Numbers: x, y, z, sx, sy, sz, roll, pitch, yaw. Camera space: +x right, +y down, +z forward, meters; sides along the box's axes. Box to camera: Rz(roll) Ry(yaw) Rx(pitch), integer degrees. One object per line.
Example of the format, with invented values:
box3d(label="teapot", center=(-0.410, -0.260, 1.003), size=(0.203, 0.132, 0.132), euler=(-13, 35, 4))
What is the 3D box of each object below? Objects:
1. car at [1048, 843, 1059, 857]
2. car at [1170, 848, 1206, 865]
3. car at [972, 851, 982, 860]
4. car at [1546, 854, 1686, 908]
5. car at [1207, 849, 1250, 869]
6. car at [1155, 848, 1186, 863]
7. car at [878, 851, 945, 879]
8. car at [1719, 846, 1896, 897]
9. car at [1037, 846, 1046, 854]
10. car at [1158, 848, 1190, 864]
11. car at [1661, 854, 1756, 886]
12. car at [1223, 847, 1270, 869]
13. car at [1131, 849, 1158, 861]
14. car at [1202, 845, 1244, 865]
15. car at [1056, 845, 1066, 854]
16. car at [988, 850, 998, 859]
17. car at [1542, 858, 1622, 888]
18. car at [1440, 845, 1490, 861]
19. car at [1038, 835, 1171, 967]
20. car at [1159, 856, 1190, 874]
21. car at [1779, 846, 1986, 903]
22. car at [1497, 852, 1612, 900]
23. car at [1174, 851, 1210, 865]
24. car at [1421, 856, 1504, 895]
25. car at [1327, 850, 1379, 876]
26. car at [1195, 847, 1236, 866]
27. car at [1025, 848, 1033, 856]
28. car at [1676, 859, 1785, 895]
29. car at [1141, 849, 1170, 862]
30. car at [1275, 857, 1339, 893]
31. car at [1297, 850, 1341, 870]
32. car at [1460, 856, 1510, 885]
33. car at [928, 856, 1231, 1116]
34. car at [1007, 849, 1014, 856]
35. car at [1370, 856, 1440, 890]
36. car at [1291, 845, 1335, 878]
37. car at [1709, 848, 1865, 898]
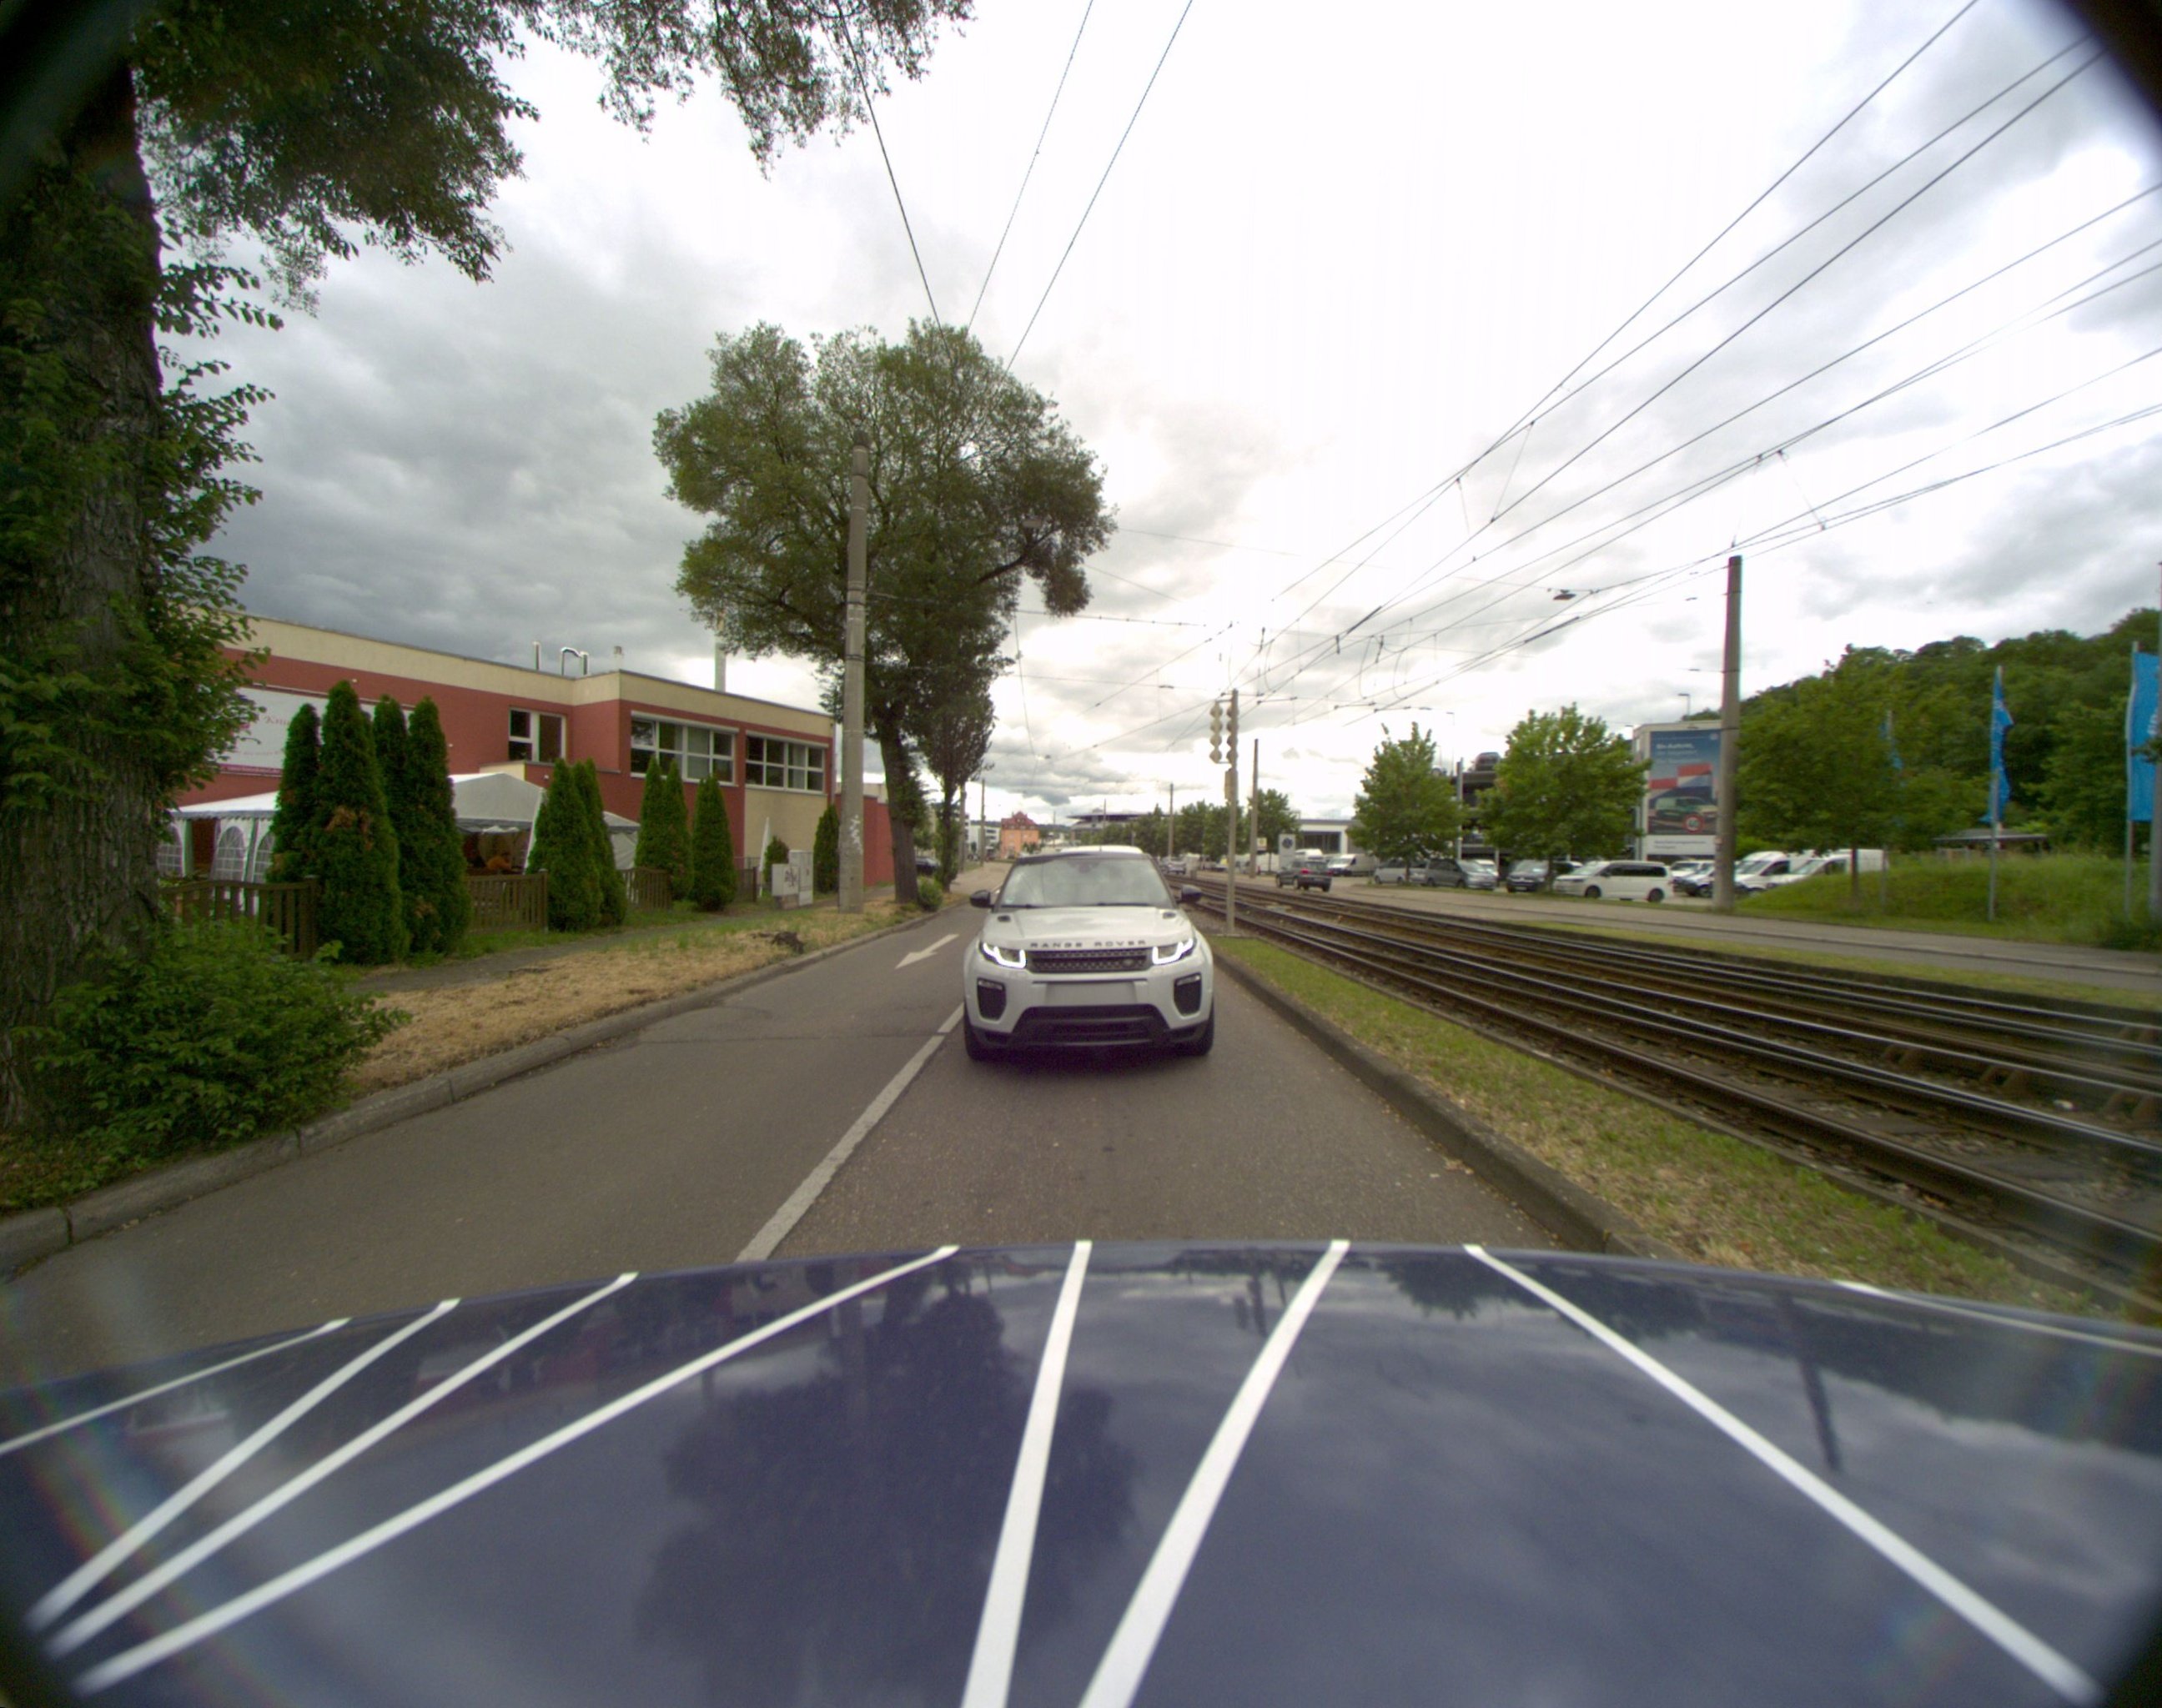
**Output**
box3d(label="car", center=(-6.158, -0.881, 169.921), size=(2.410, 2.931, 4.747), euler=(-2, 1, -2))
box3d(label="car", center=(15.525, 0.381, 110.504), size=(4.639, 2.196, 2.107), euler=(-2, 1, -8))
box3d(label="car", center=(-22.808, 0.325, 166.713), size=(1.906, 1.708, 4.133), euler=(5, 1, -5))
box3d(label="car", center=(25.269, 1.235, 35.994), size=(5.269, 2.254, 1.999), euler=(-2, 1, -3))
box3d(label="car", center=(17.682, 0.595, 91.169), size=(4.639, 2.196, 2.107), euler=(-2, 1, -8))
box3d(label="car", center=(14.461, 0.282, 122.914), size=(4.639, 2.196, 2.107), euler=(-2, 1, -8))
box3d(label="car", center=(-10.976, 0.678, 49.553), size=(3.999, 1.636, 1.895), euler=(-2, 1, -6))
box3d(label="car", center=(35.041, 0.850, 36.900), size=(5.839, 2.254, 2.056), euler=(-2, 1, 22))
box3d(label="car", center=(-10.666, -0.985, 205.061), size=(2.000, 2.002, 3.997), euler=(-2, 1, -7))
box3d(label="car", center=(14.738, 0.298, 120.479), size=(4.639, 2.196, 2.107), euler=(-2, 1, -8))
box3d(label="car", center=(39.863, 1.023, 48.392), size=(4.228, 1.826, 1.983), euler=(-2, 1, 19))
box3d(label="car", center=(18.745, 0.448, 86.081), size=(4.639, 2.196, 2.107), euler=(-2, 1, -8))
box3d(label="car", center=(11.823, 0.175, 141.313), size=(4.639, 2.196, 2.107), euler=(-2, 1, -8))
box3d(label="car", center=(17.474, 0.130, 93.605), size=(4.639, 2.196, 2.107), euler=(-2, 1, -8))
box3d(label="car", center=(-4.665, -1.068, 178.504), size=(2.000, 2.002, 3.997), euler=(-2, 1, -7))
box3d(label="car", center=(-17.426, 0.072, 150.309), size=(1.869, 1.740, 3.998), euler=(-2, 1, -5))
box3d(label="car", center=(34.389, 1.296, 52.312), size=(4.228, 1.826, 1.983), euler=(-2, 1, 19))
box3d(label="car", center=(46.322, -0.118, 91.796), size=(5.216, 1.826, 1.983), euler=(-2, 1, 21))
box3d(label="car", center=(0.392, 0.693, 13.980), size=(1.998, 1.990, 5.034), euler=(0, 0, 1))
box3d(label="car", center=(8.573, 0.968, 70.279), size=(1.999, 1.569, 4.175), euler=(1, 0, -5))
box3d(label="car", center=(34.666, 0.907, 33.123), size=(5.850, 2.254, 2.056), euler=(-2, 1, 22))
box3d(label="car", center=(24.669, 1.113, 39.667), size=(4.774, 2.254, 1.979), euler=(-2, 1, -3))
box3d(label="car", center=(15.738, 0.583, 108.104), size=(4.639, 1.829, 2.107), euler=(-2, 1, -8))
box3d(label="car", center=(22.901, 1.252, 45.859), size=(2.142, 2.104, 4.773), euler=(-2, 1, -7))
box3d(label="car", center=(30.309, 0.965, 84.560), size=(6.057, 2.608, 2.316), euler=(-3, 1, -34))
box3d(label="car", center=(17.053, 0.310, 96.389), size=(4.639, 2.196, 2.107), euler=(-2, 1, -8))
box3d(label="car", center=(-13.757, -0.467, 200.727), size=(2.000, 2.002, 3.997), euler=(-2, 1, -7))
box3d(label="car", center=(36.647, 1.280, 42.981), size=(4.228, 1.826, 1.983), euler=(-2, 1, 19))
box3d(label="car", center=(12.990, 0.226, 132.830), size=(4.639, 2.196, 2.107), euler=(-2, 1, -8))
box3d(label="car", center=(12.100, 1.086, 40.925), size=(1.905, 1.708, 4.134), euler=(4, 0, -3))
box3d(label="car", center=(29.102, 0.710, 93.022), size=(4.636, 2.196, 2.108), euler=(-2, 1, -1))
box3d(label="car", center=(28.870, 1.142, 54.404), size=(1.900, 1.882, 4.600), euler=(-2, 1, 12))
box3d(label="car", center=(-0.008, 0.886, 7.164), size=(1.998, 1.680, 4.268), euler=(0, 1, 0))
box3d(label="car", center=(-21.976, -0.555, 236.459), size=(2.000, 2.002, 3.997), euler=(-2, 1, -7))
box3d(label="car", center=(22.116, 1.221, 52.098), size=(2.142, 2.104, 4.772), euler=(-2, 1, -8))
box3d(label="car", center=(22.389, 0.667, 73.588), size=(2.320, 2.994, 6.157), euler=(-2, 1, 0))
box3d(label="car", center=(36.874, 0.996, 39.881), size=(5.652, 2.446, 1.983), euler=(-2, 1, 19))
